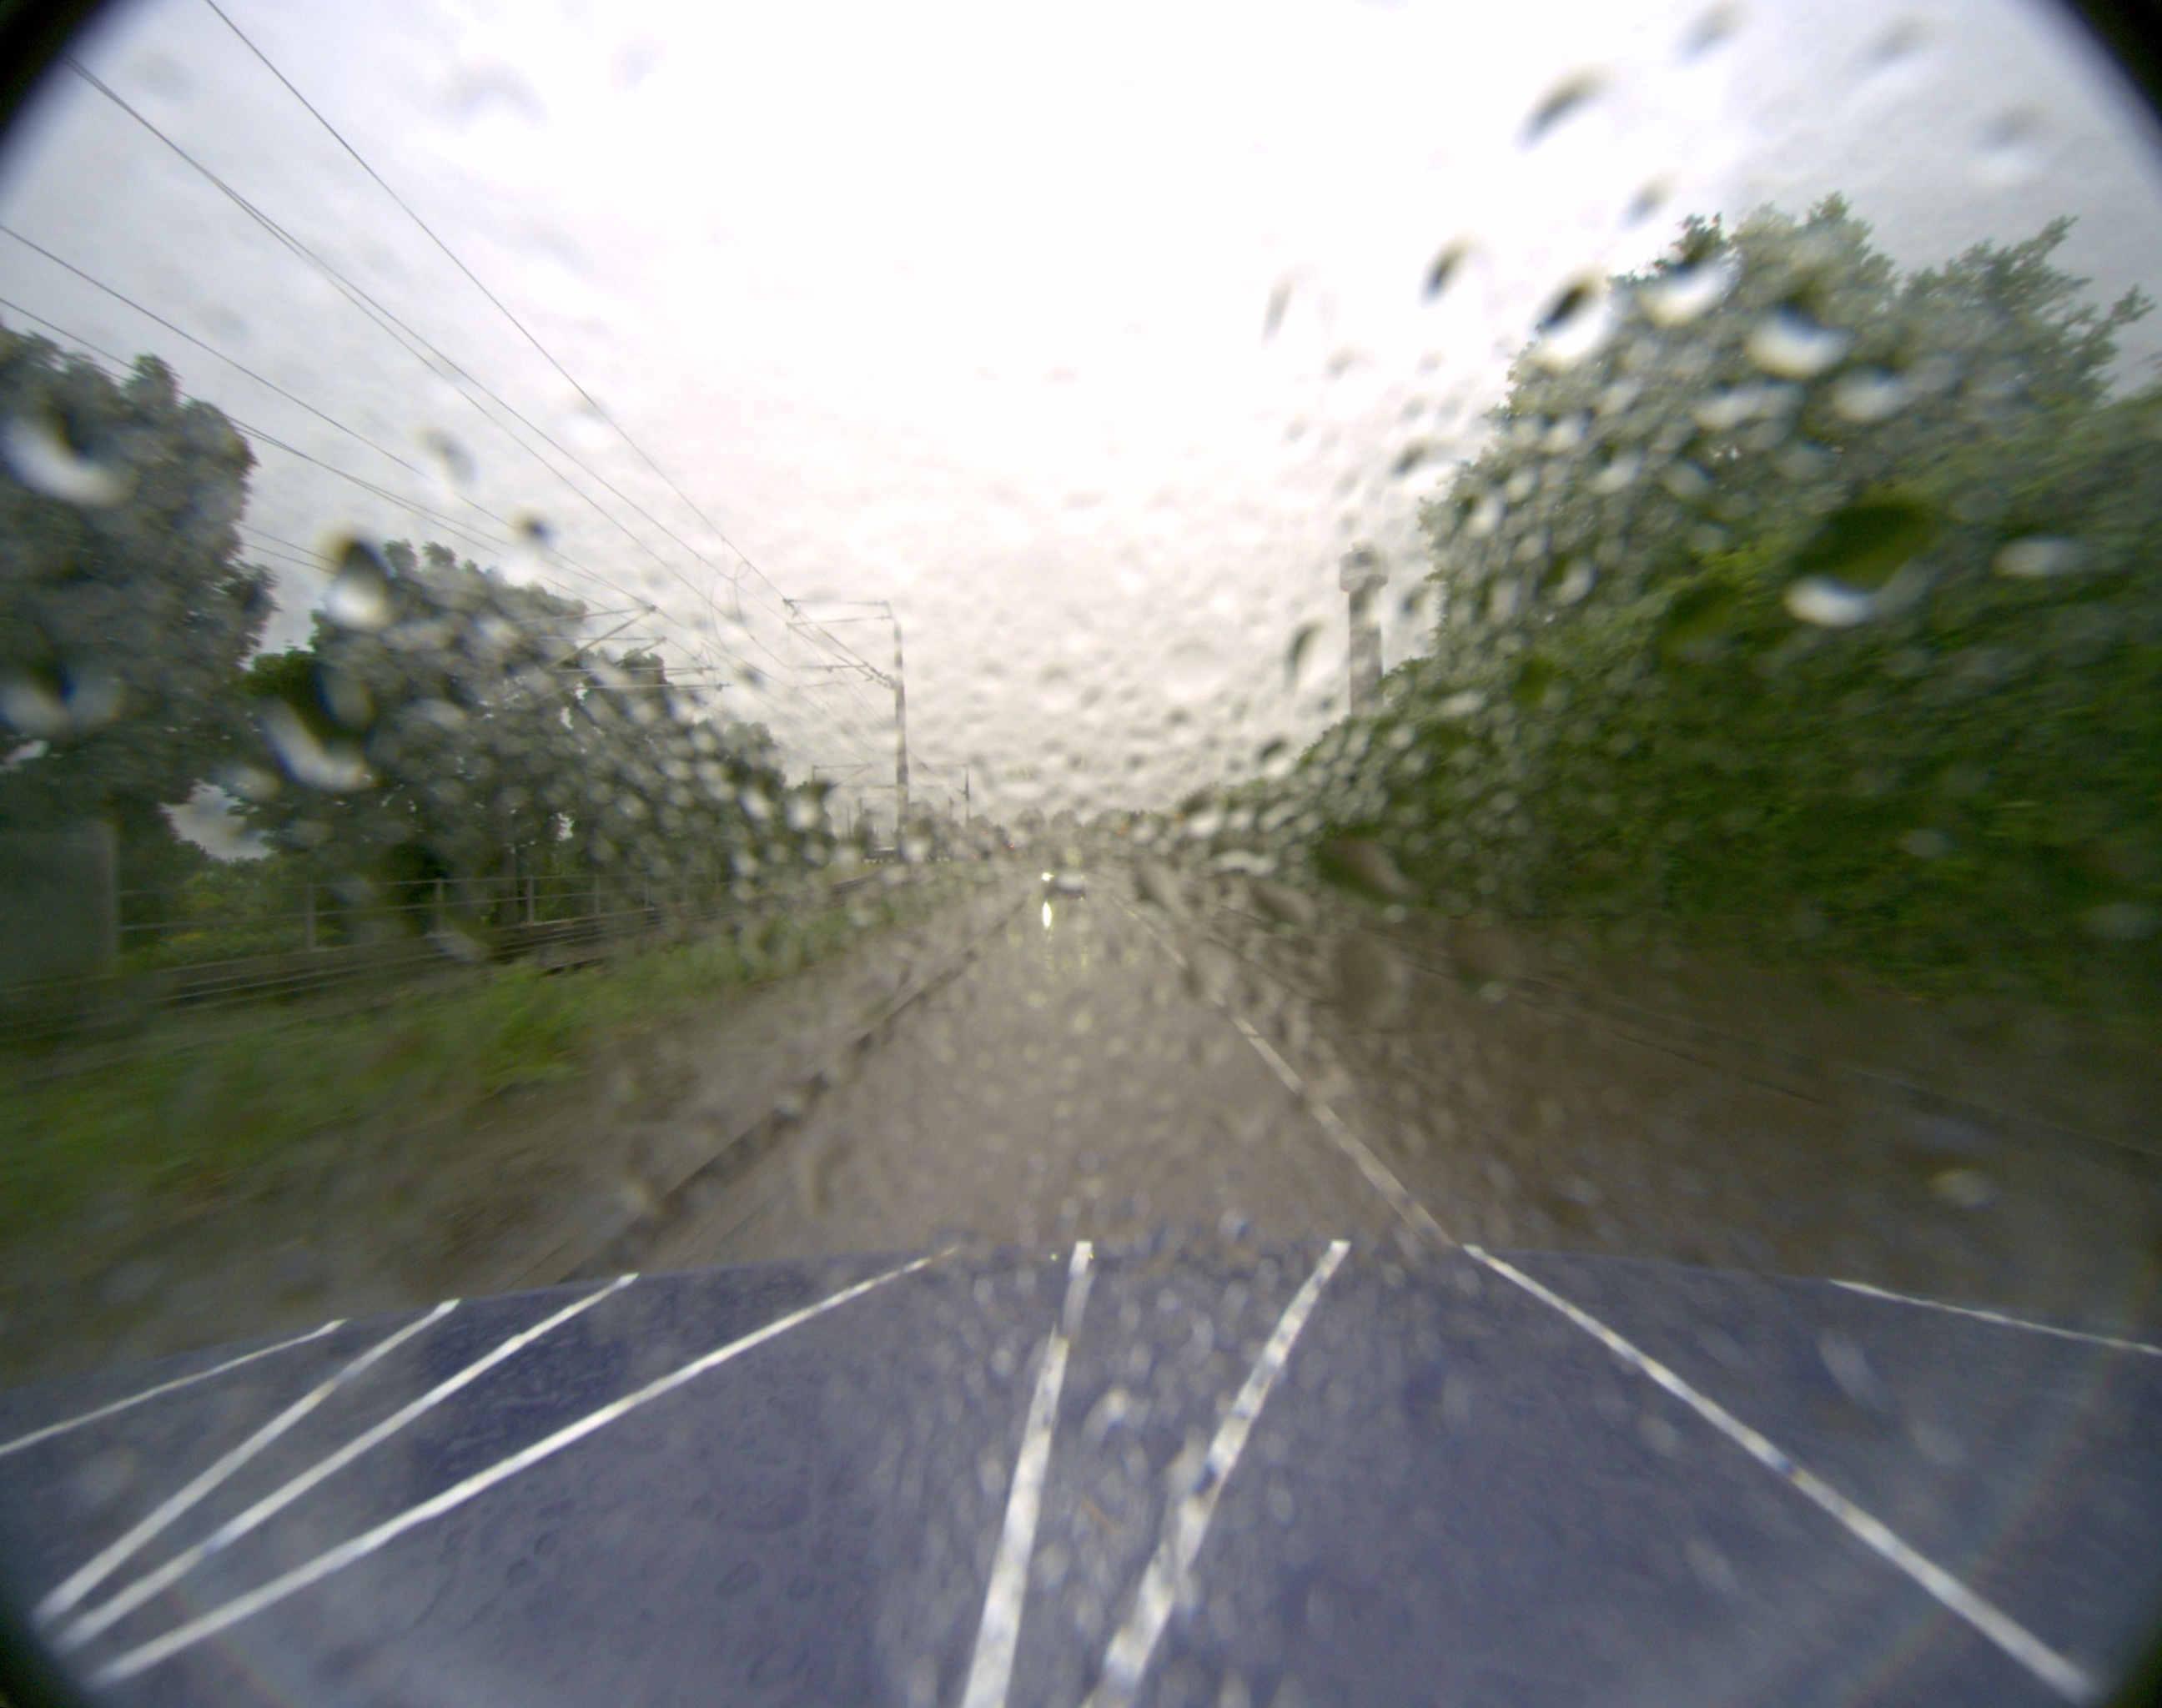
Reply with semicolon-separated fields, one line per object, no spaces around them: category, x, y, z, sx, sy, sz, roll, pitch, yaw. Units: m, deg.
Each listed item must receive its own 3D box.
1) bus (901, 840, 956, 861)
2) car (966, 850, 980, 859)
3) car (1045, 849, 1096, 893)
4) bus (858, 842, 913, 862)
bus;-25.396;-0.575;126.198;9.967;3.060;2.683;-2;2;34
car;-18.775;0.042;131.777;1.769;1.528;3.870;-1;1;-17
car;-0.511;0.678;32.784;1.999;1.623;3.998;-2;1;-3
bus;-33.883;-0.356;131.402;9.969;3.060;2.683;-2;2;28
